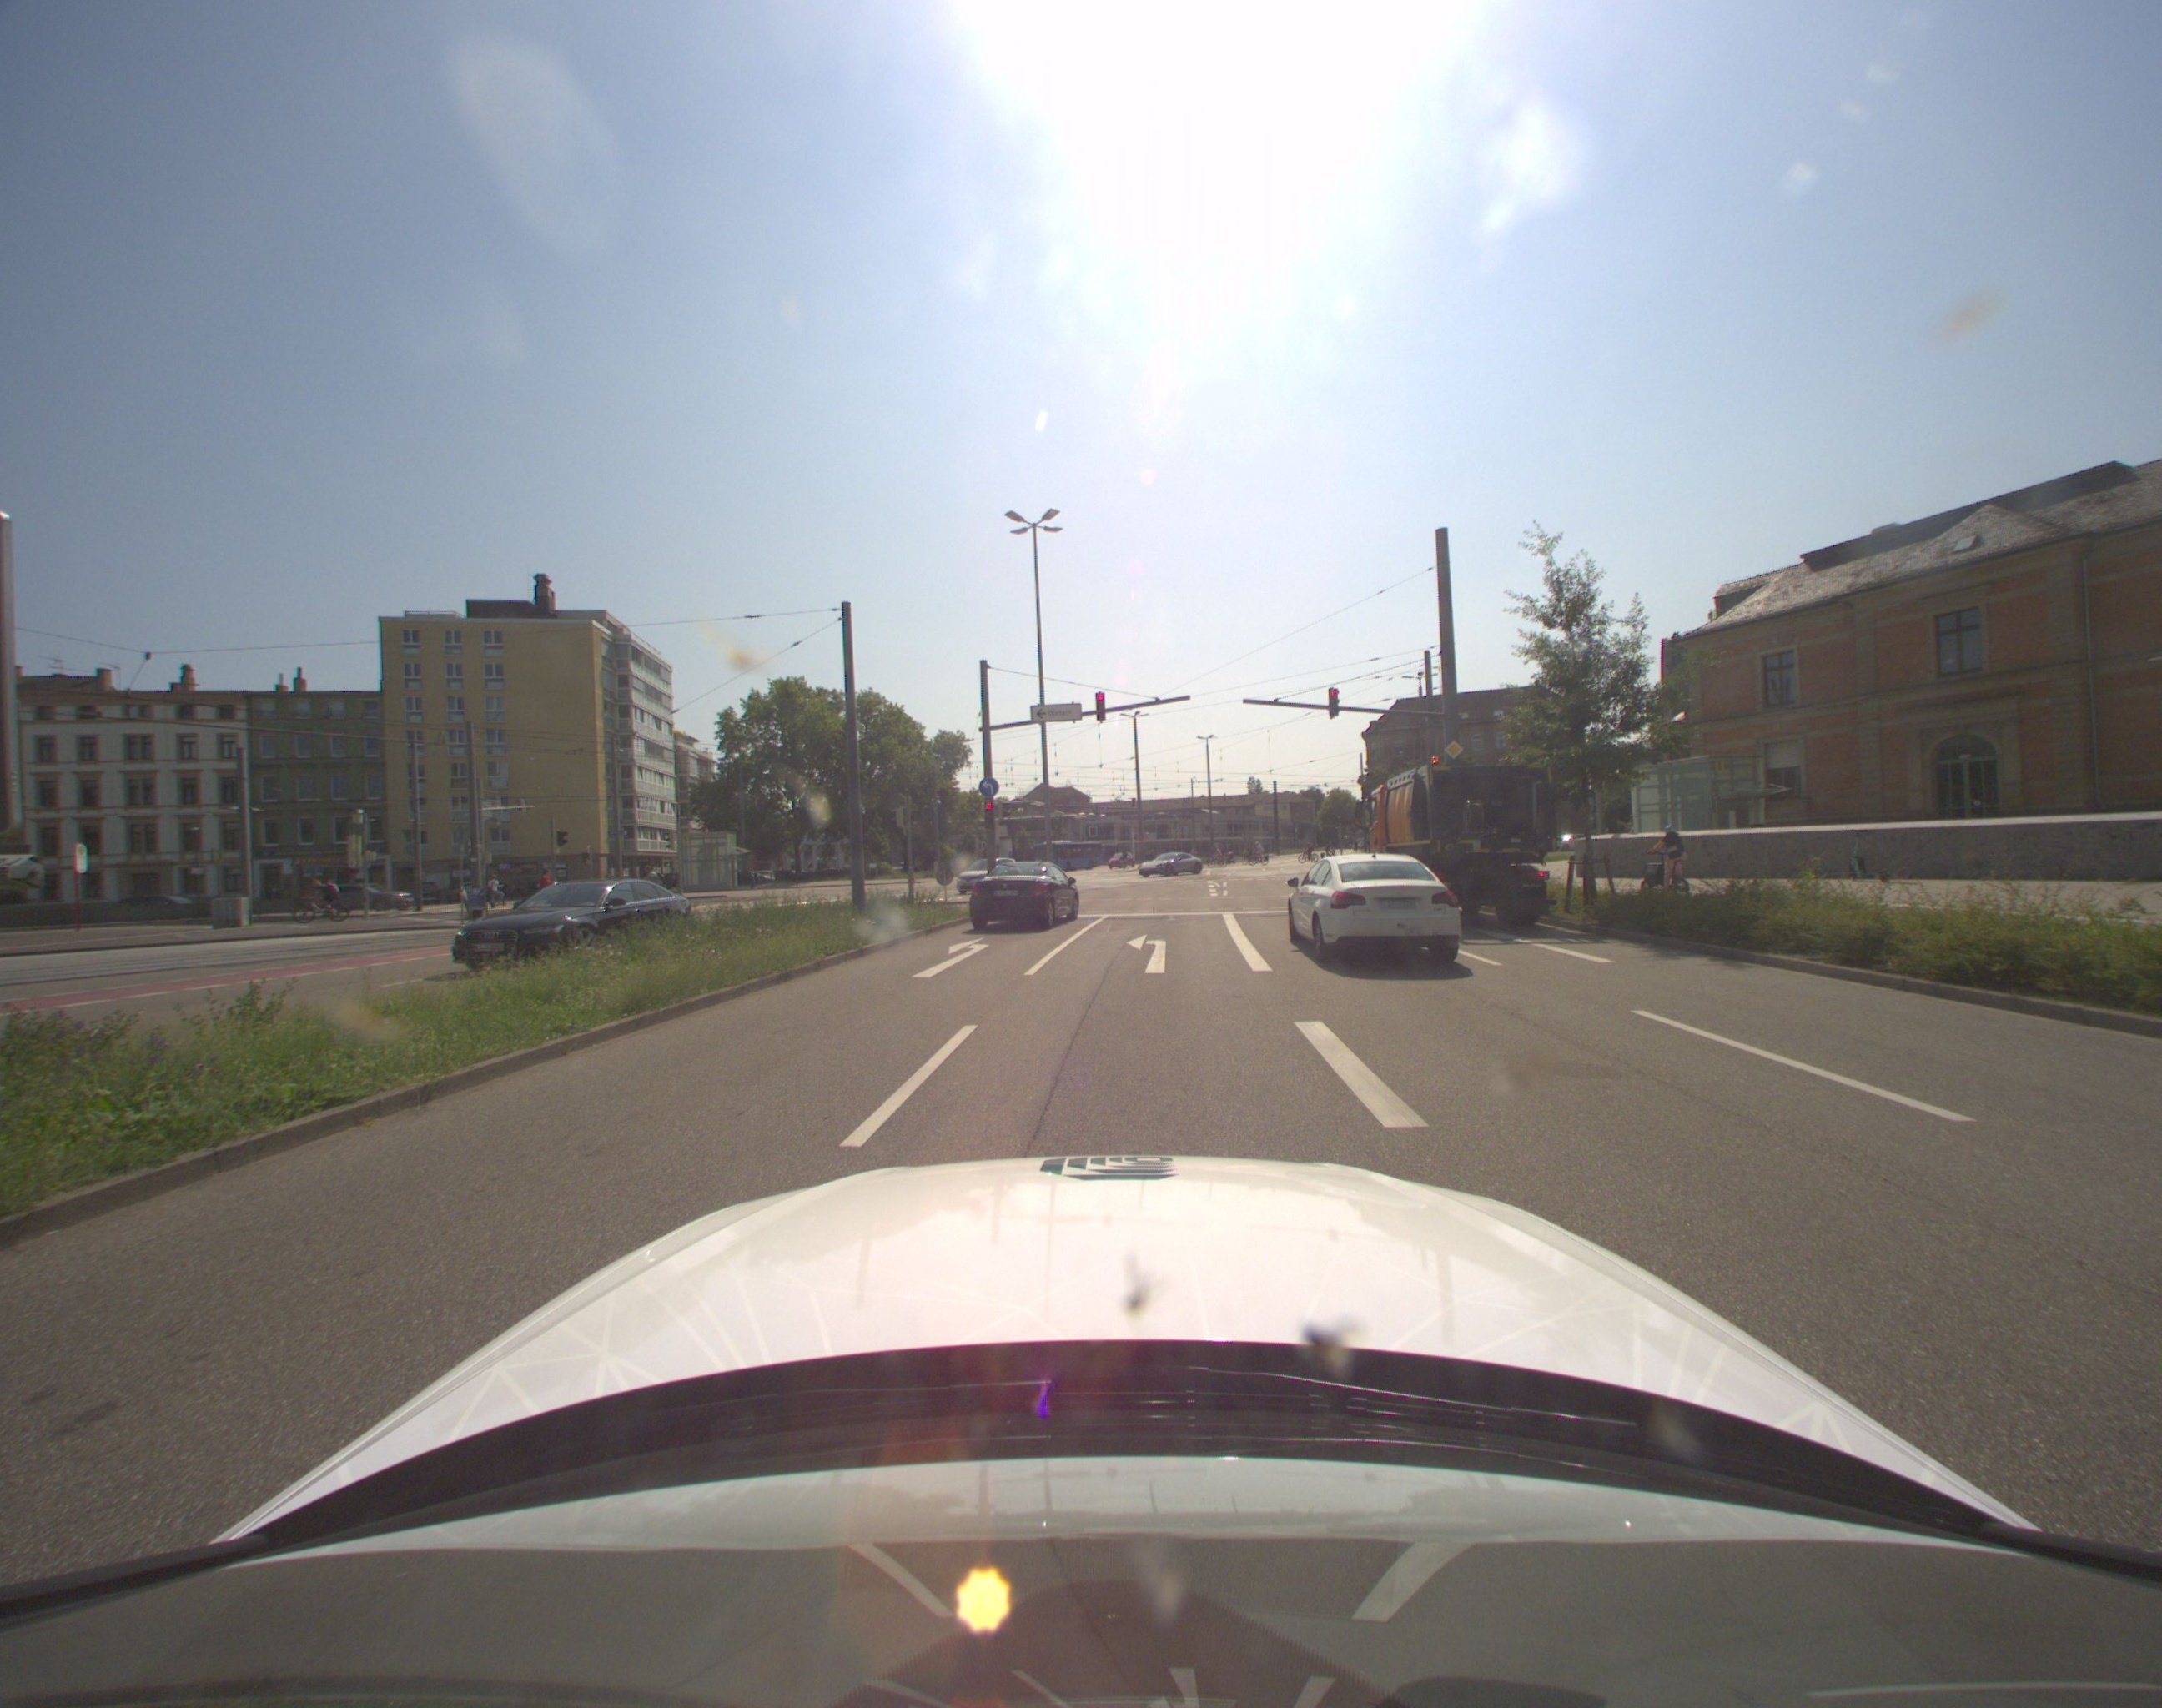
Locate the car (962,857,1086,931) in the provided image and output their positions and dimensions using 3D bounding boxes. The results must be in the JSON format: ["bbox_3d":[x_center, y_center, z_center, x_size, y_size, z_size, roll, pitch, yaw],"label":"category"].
[{"bbox_3d":[-1.148,0.815,18.267,1.746,1.404,3.993,-2,0,11],"label":"car"}]

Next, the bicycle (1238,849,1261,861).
[{"bbox_3d":[15.482,0.116,74.965,1.984,1.018,0.710,-2,0,-19],"label":"bicycle"}]

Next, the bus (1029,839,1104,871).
[{"bbox_3d":[-1.277,0.036,84.010,3.026,2.931,11.919,-3,0,23],"label":"bus"}]

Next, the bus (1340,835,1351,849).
[{"bbox_3d":[69.507,-3.174,213.600,2.541,3.505,7.839,-2,0,19],"label":"bus"}]

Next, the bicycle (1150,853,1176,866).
[{"bbox_3d":[7.439,0.541,74.169,2.196,1.087,0.760,-2,0,-9],"label":"bicycle"}]

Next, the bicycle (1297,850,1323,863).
[{"bbox_3d":[19.618,0.227,69.716,1.959,1.018,0.719,-2,0,30],"label":"bicycle"}]

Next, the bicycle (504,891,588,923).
[{"bbox_3d":[-18.919,1.862,28.827,2.410,0.953,0.601,-3,-1,-11],"label":"bicycle"}]

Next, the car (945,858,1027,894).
[{"bbox_3d":[-4.280,0.972,37.249,1.754,1.425,4.091,-3,0,26],"label":"car"}]

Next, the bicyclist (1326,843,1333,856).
[{"bbox_3d":[22.565,-0.431,73.901,0.499,1.188,0.510,-3,0,23],"label":"bicyclist"}]

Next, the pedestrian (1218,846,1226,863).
[{"bbox_3d":[13.342,0.017,77.273,0.632,1.561,0.748,-2,0,4],"label":"pedestrian"}]

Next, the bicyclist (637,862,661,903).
[{"bbox_3d":[-17.671,1.154,33.328,0.684,1.650,0.623,-3,0,43],"label":"bicyclist"}]

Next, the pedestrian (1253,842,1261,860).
[{"bbox_3d":[16.688,-0.283,77.331,0.619,1.752,0.628,-2,0,3],"label":"pedestrian"}]

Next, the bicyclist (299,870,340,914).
[{"bbox_3d":[-29.862,1.486,31.963,0.977,1.654,0.657,-2,0,-26],"label":"bicyclist"}]

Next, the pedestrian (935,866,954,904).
[{"bbox_3d":[-4.778,1.084,28.561,0.596,1.268,0.503,-3,2,-12],"label":"pedestrian"}]

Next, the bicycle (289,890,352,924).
[{"bbox_3d":[-29.877,2.042,32.056,0.977,1.178,2.807,-2,0,-26],"label":"bicycle"}]

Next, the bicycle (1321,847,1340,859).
[{"bbox_3d":[22.611,-0.115,73.880,1.577,0.985,0.510,-2,0,23],"label":"bicycle"}]

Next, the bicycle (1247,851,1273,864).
[{"bbox_3d":[15.071,0.303,68.481,1.974,1.018,0.713,-2,0,-5],"label":"bicycle"}]

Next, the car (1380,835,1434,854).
[{"bbox_3d":[27.374,-0.815,68.438,3.887,1.420,1.731,-2,0,-4],"label":"car"}]

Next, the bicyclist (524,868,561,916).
[{"bbox_3d":[-19.044,1.336,28.807,0.839,1.642,0.604,-3,0,-11],"label":"bicyclist"}]

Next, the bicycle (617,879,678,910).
[{"bbox_3d":[-17.703,1.646,33.274,0.690,1.137,2.056,-3,0,43],"label":"bicycle"}]

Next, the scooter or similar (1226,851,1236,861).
[{"bbox_3d":[14.250,0.183,77.156,0.831,0.974,0.794,-2,0,5],"label":"scooter or similar"}]

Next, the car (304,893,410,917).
[{"bbox_3d":[-39.440,2.751,44.470,3.890,0.987,1.707,-3,0,-16],"label":"car"}]

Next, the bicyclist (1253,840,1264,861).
[{"bbox_3d":[14.930,-0.293,68.470,0.703,1.764,0.713,-2,0,-4],"label":"bicyclist"}]

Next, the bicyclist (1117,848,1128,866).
[{"bbox_3d":[3.756,0.246,73.289,0.798,1.541,0.760,-2,0,-12],"label":"bicyclist"}]

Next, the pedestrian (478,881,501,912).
[{"bbox_3d":[-32.044,2.281,44.100,0.648,1.633,0.811,-3,-1,-10],"label":"pedestrian"}]

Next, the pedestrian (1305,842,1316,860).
[{"bbox_3d":[19.648,-0.280,69.688,0.656,1.534,0.719,-3,0,30],"label":"pedestrian"}]

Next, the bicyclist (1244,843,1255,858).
[{"bbox_3d":[15.471,-0.314,74.968,0.670,1.350,0.707,-2,0,-18],"label":"bicyclist"}]

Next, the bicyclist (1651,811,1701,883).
[{"bbox_3d":[12.935,-0.152,17.721,0.545,1.496,0.806,-3,0,11],"label":"bicyclist"}]

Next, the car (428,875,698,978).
[{"bbox_3d":[-9.049,1.177,14.839,1.764,1.411,4.767,-2,0,1],"label":"car"}]

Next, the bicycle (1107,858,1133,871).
[{"bbox_3d":[3.499,0.908,73.231,2.199,1.087,0.759,-2,0,-12],"label":"bicycle"}]

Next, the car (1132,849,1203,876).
[{"bbox_3d":[5.358,0.509,49.931,1.921,1.400,4.615,-3,0,42],"label":"car"}]

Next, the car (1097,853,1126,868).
[{"bbox_3d":[3.035,0.631,80.418,1.713,1.420,3.860,-2,0,21],"label":"car"}]

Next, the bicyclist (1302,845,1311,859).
[{"bbox_3d":[21.108,-0.203,76.242,0.598,1.247,0.501,-2,0,-36],"label":"bicyclist"}]

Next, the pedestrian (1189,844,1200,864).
[{"bbox_3d":[10.598,0.001,76.212,0.776,1.752,0.813,-3,0,22],"label":"pedestrian"}]

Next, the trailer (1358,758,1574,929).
[{"bbox_3d":[7.890,-0.190,17.616,2.449,3.007,6.340,-1,0,8],"label":"trailer"}]

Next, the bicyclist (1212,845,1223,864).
[{"bbox_3d":[11.302,0.030,67.312,0.664,1.509,0.712,-2,0,-9],"label":"bicyclist"}]

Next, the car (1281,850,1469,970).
[{"bbox_3d":[4.185,0.693,12.312,1.748,1.455,4.435,-2,0,8],"label":"car"}]

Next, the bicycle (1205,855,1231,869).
[{"bbox_3d":[11.353,0.650,67.315,1.978,1.018,0.712,-2,0,-10],"label":"bicycle"}]

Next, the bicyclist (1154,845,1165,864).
[{"bbox_3d":[7.160,0.055,74.132,0.761,1.634,0.760,-2,0,-9],"label":"bicyclist"}]

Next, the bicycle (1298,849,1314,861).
[{"bbox_3d":[21.086,0.098,76.214,1.603,0.985,0.501,-2,0,-37],"label":"bicycle"}]

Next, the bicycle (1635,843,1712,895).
[{"bbox_3d":[13.001,0.318,17.937,0.553,1.060,2.010,-3,0,11],"label":"bicycle"}]
